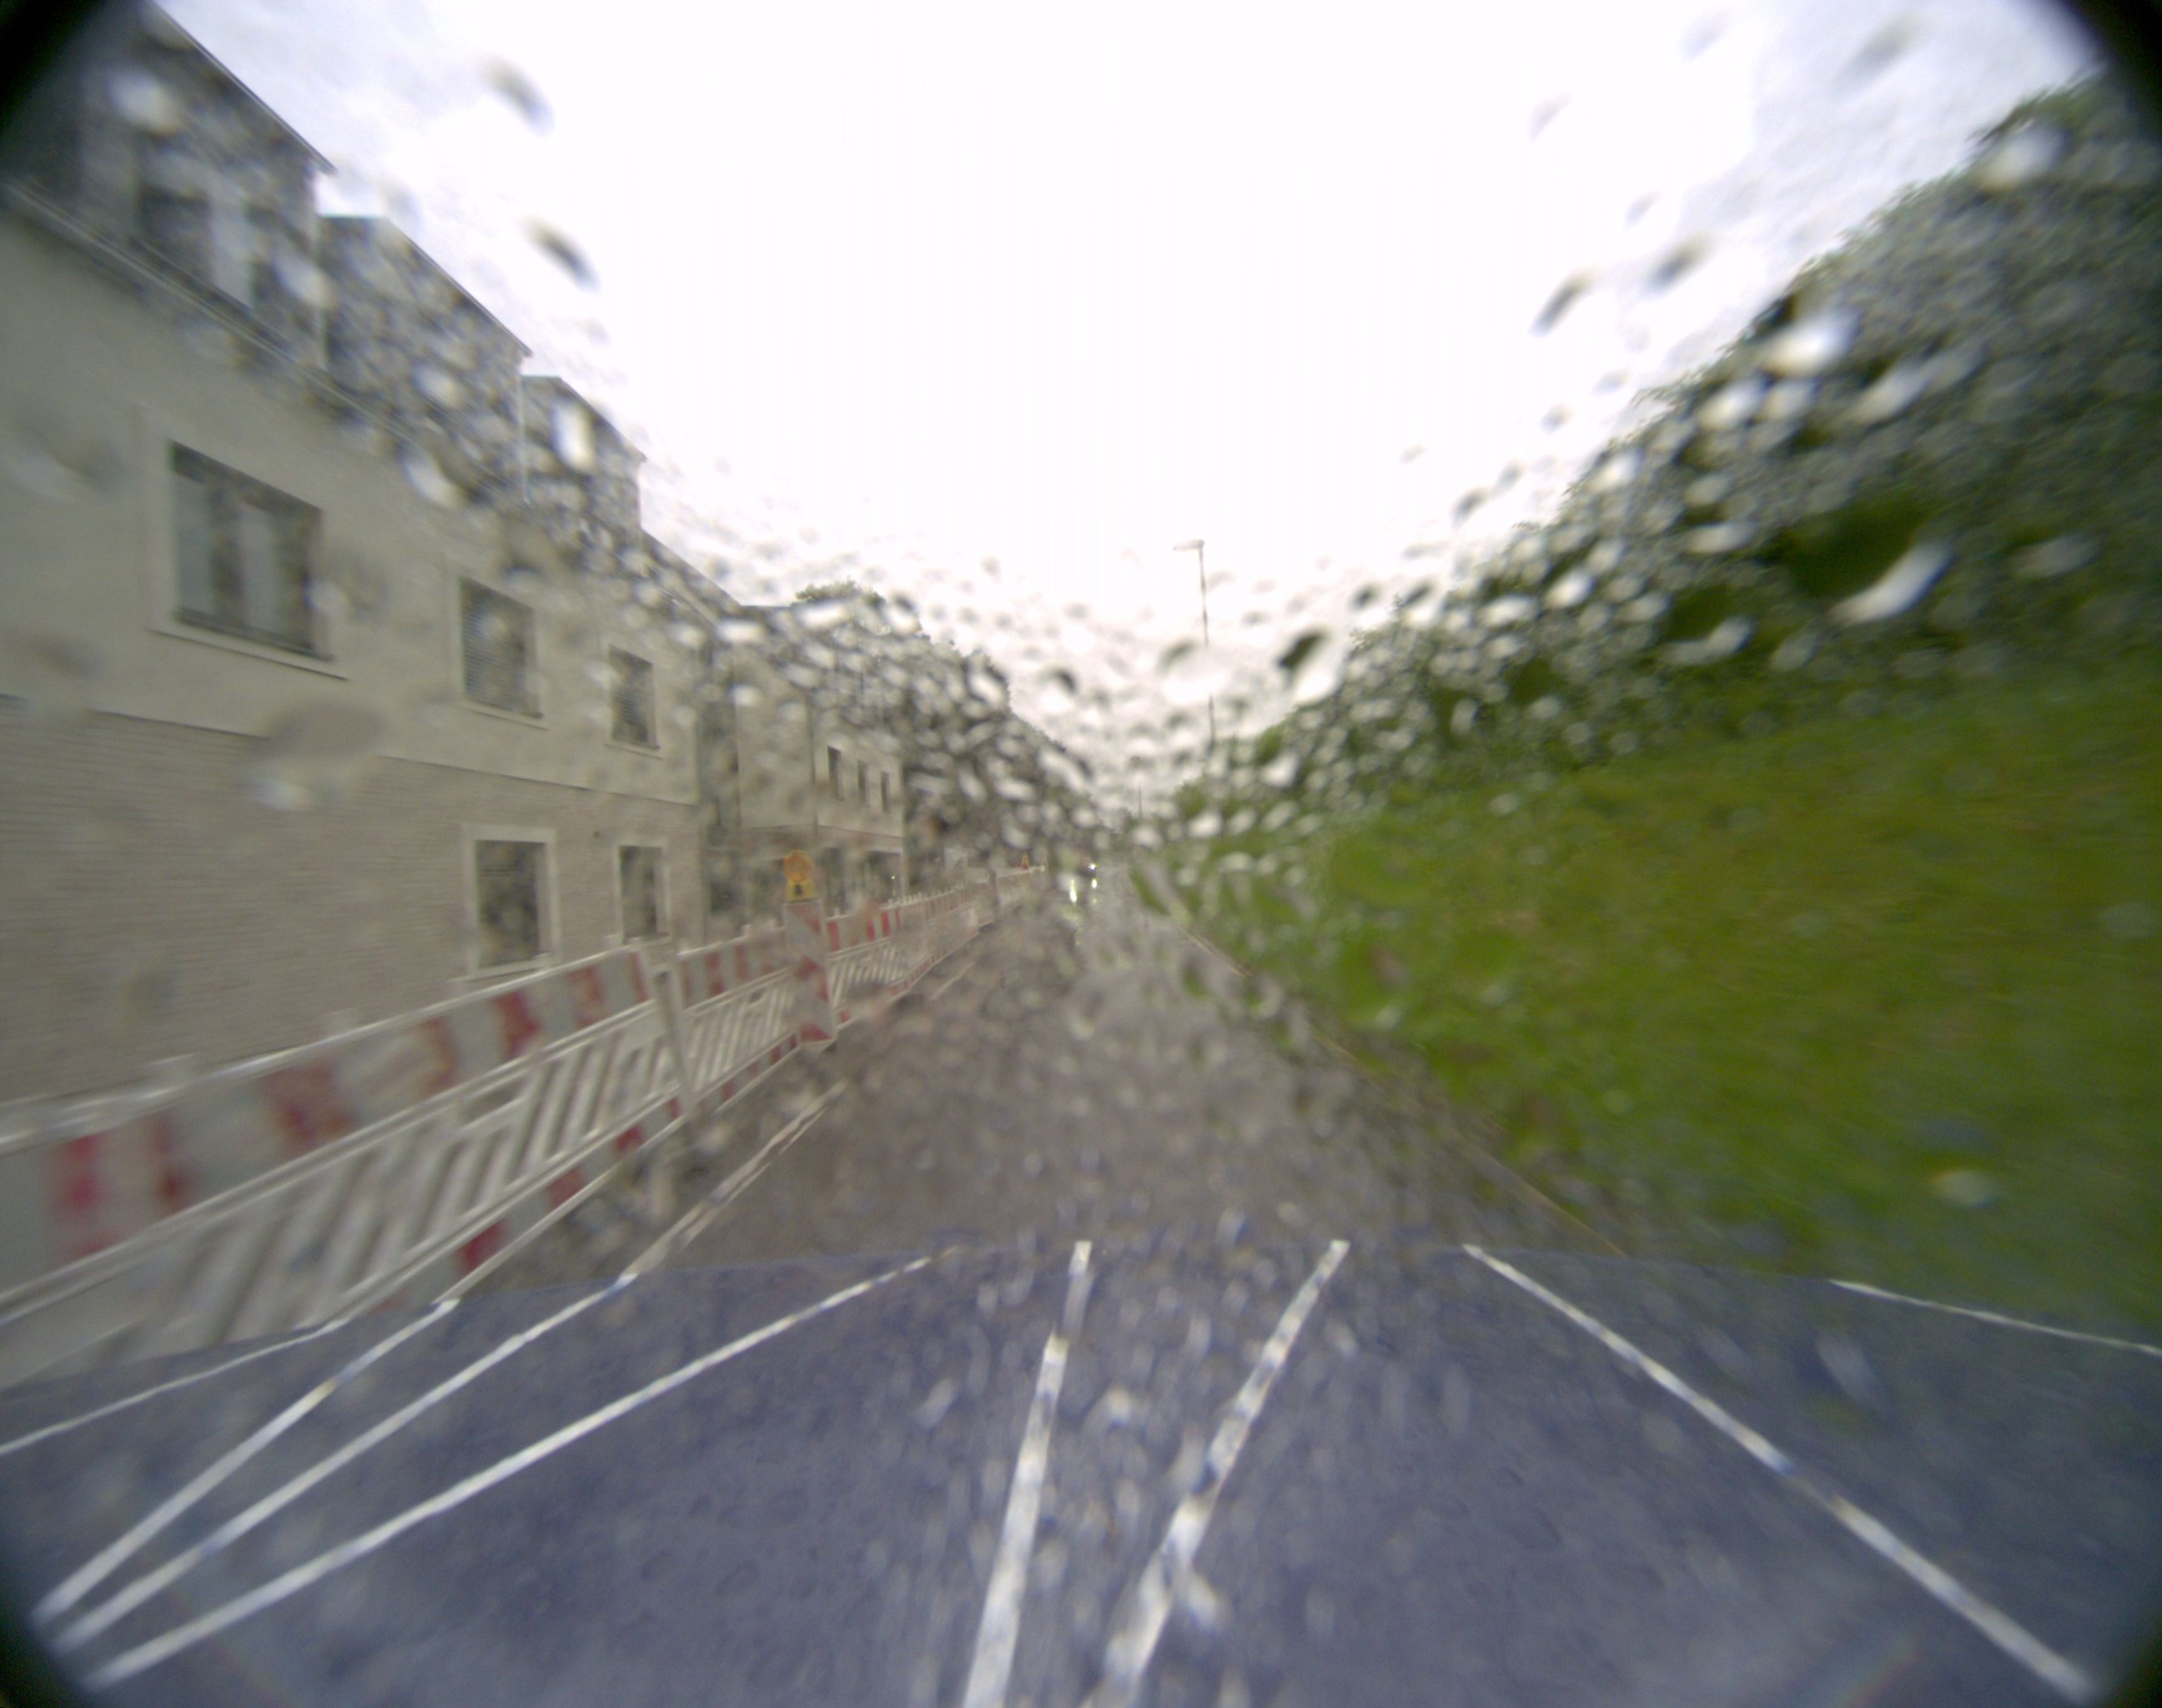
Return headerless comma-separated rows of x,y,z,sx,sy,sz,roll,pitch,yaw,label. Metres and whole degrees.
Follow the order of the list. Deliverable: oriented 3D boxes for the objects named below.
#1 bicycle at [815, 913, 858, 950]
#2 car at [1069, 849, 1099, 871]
-5.911,1.853,18.429,0.497,0.693,1.739,2,0,-1,bicycle
0.282,0.400,54.088,1.798,1.543,4.001,0,0,5,car
